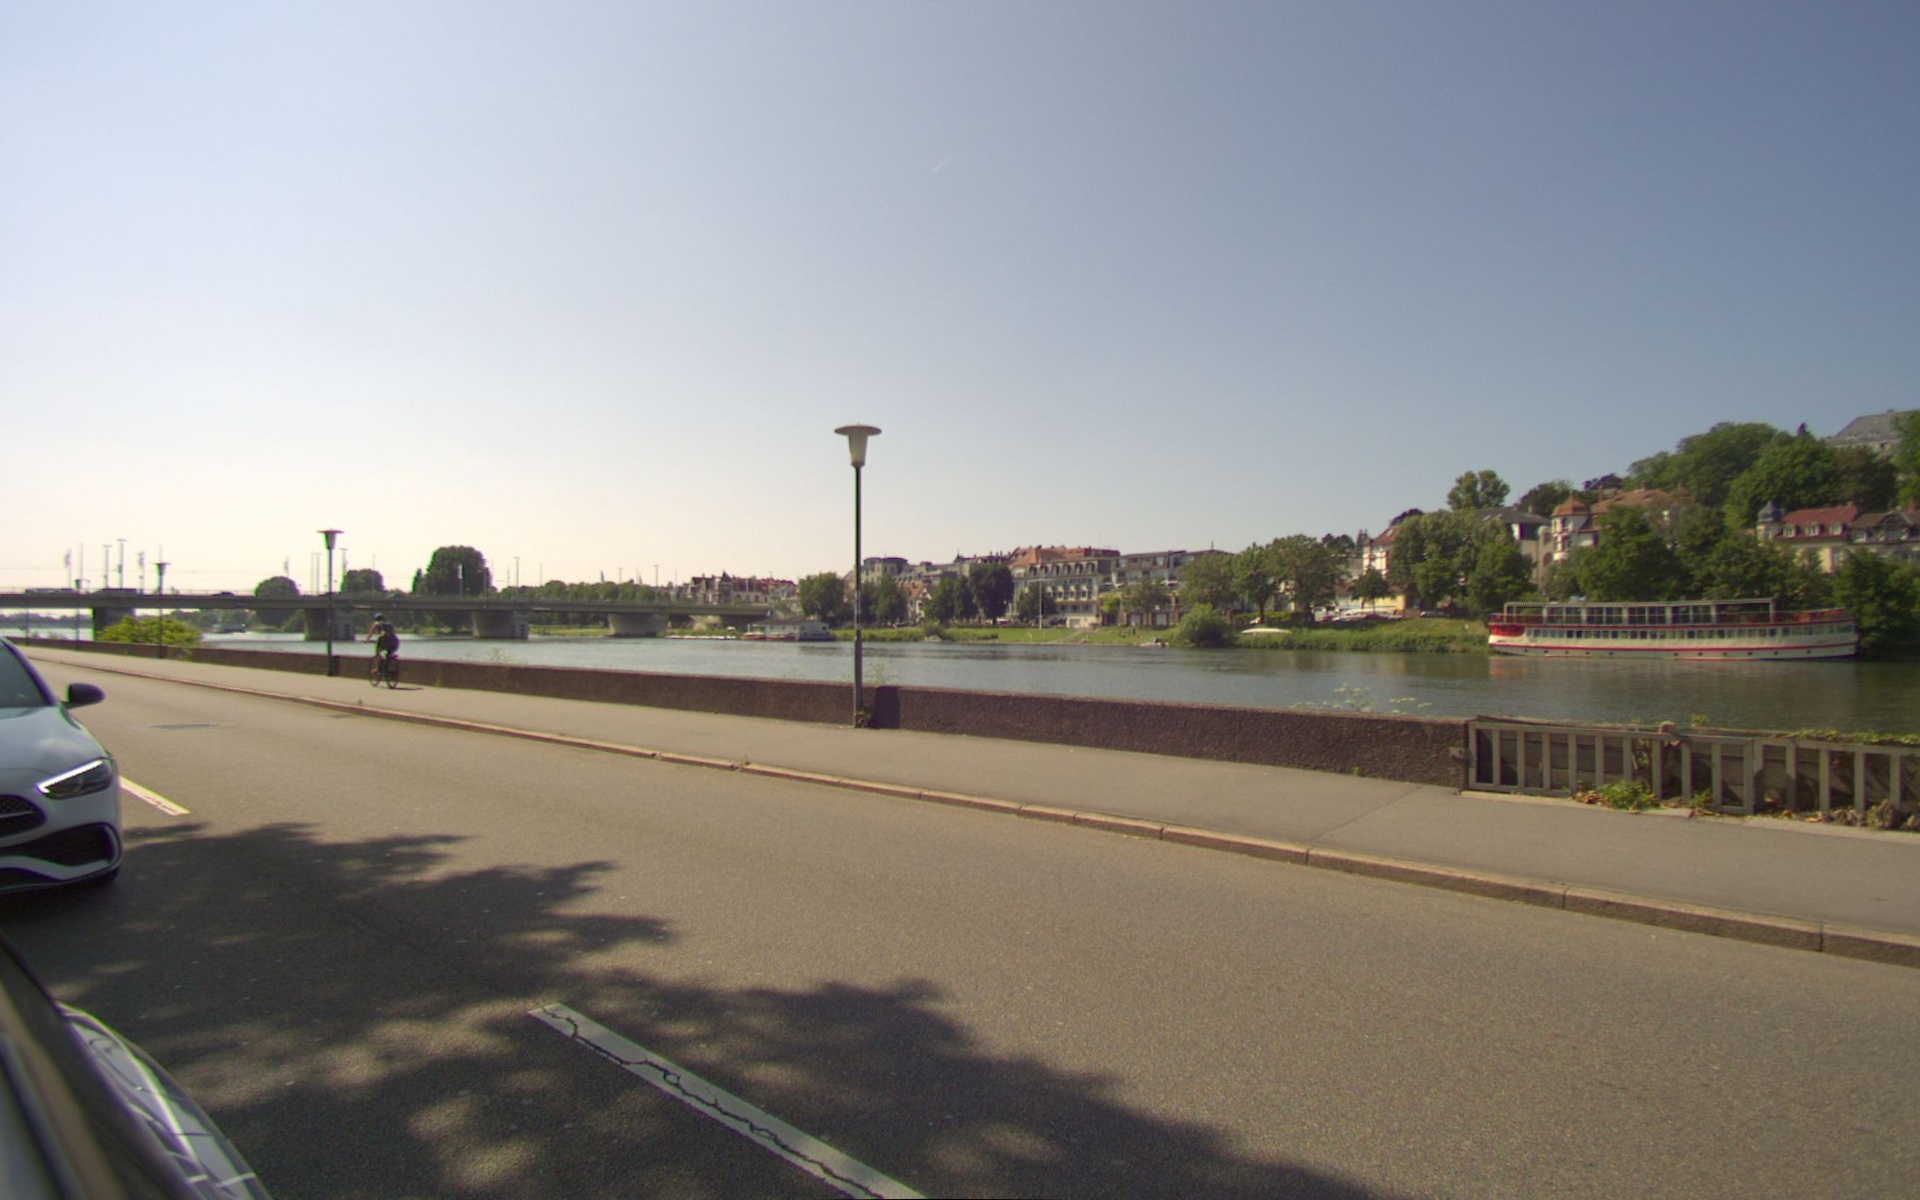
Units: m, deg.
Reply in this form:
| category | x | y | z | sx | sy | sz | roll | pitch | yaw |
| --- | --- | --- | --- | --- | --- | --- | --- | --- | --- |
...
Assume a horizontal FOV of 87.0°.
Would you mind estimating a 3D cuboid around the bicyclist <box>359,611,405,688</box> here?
| category | x | y | z | sx | sy | sz | roll | pitch | yaw |
| --- | --- | --- | --- | --- | --- | --- | --- | --- | --- |
| bicyclist | -12.976 | 1.106 | 22.726 | 0.870 | 1.686 | 0.631 | -2 | -3 | 41 |

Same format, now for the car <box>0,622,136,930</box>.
| category | x | y | z | sx | sy | sz | roll | pitch | yaw |
| --- | --- | --- | --- | --- | --- | --- | --- | --- | --- |
| car | -6.445 | 0.878 | 5.950 | 4.551 | 1.430 | 1.806 | -2 | -1 | 42 |

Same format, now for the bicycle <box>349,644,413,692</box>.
| category | x | y | z | sx | sy | sz | roll | pitch | yaw |
| --- | --- | --- | --- | --- | --- | --- | --- | --- | --- |
| bicycle | -13.132 | 1.522 | 22.943 | 1.984 | 1.019 | 0.626 | -2 | -2 | 41 |
